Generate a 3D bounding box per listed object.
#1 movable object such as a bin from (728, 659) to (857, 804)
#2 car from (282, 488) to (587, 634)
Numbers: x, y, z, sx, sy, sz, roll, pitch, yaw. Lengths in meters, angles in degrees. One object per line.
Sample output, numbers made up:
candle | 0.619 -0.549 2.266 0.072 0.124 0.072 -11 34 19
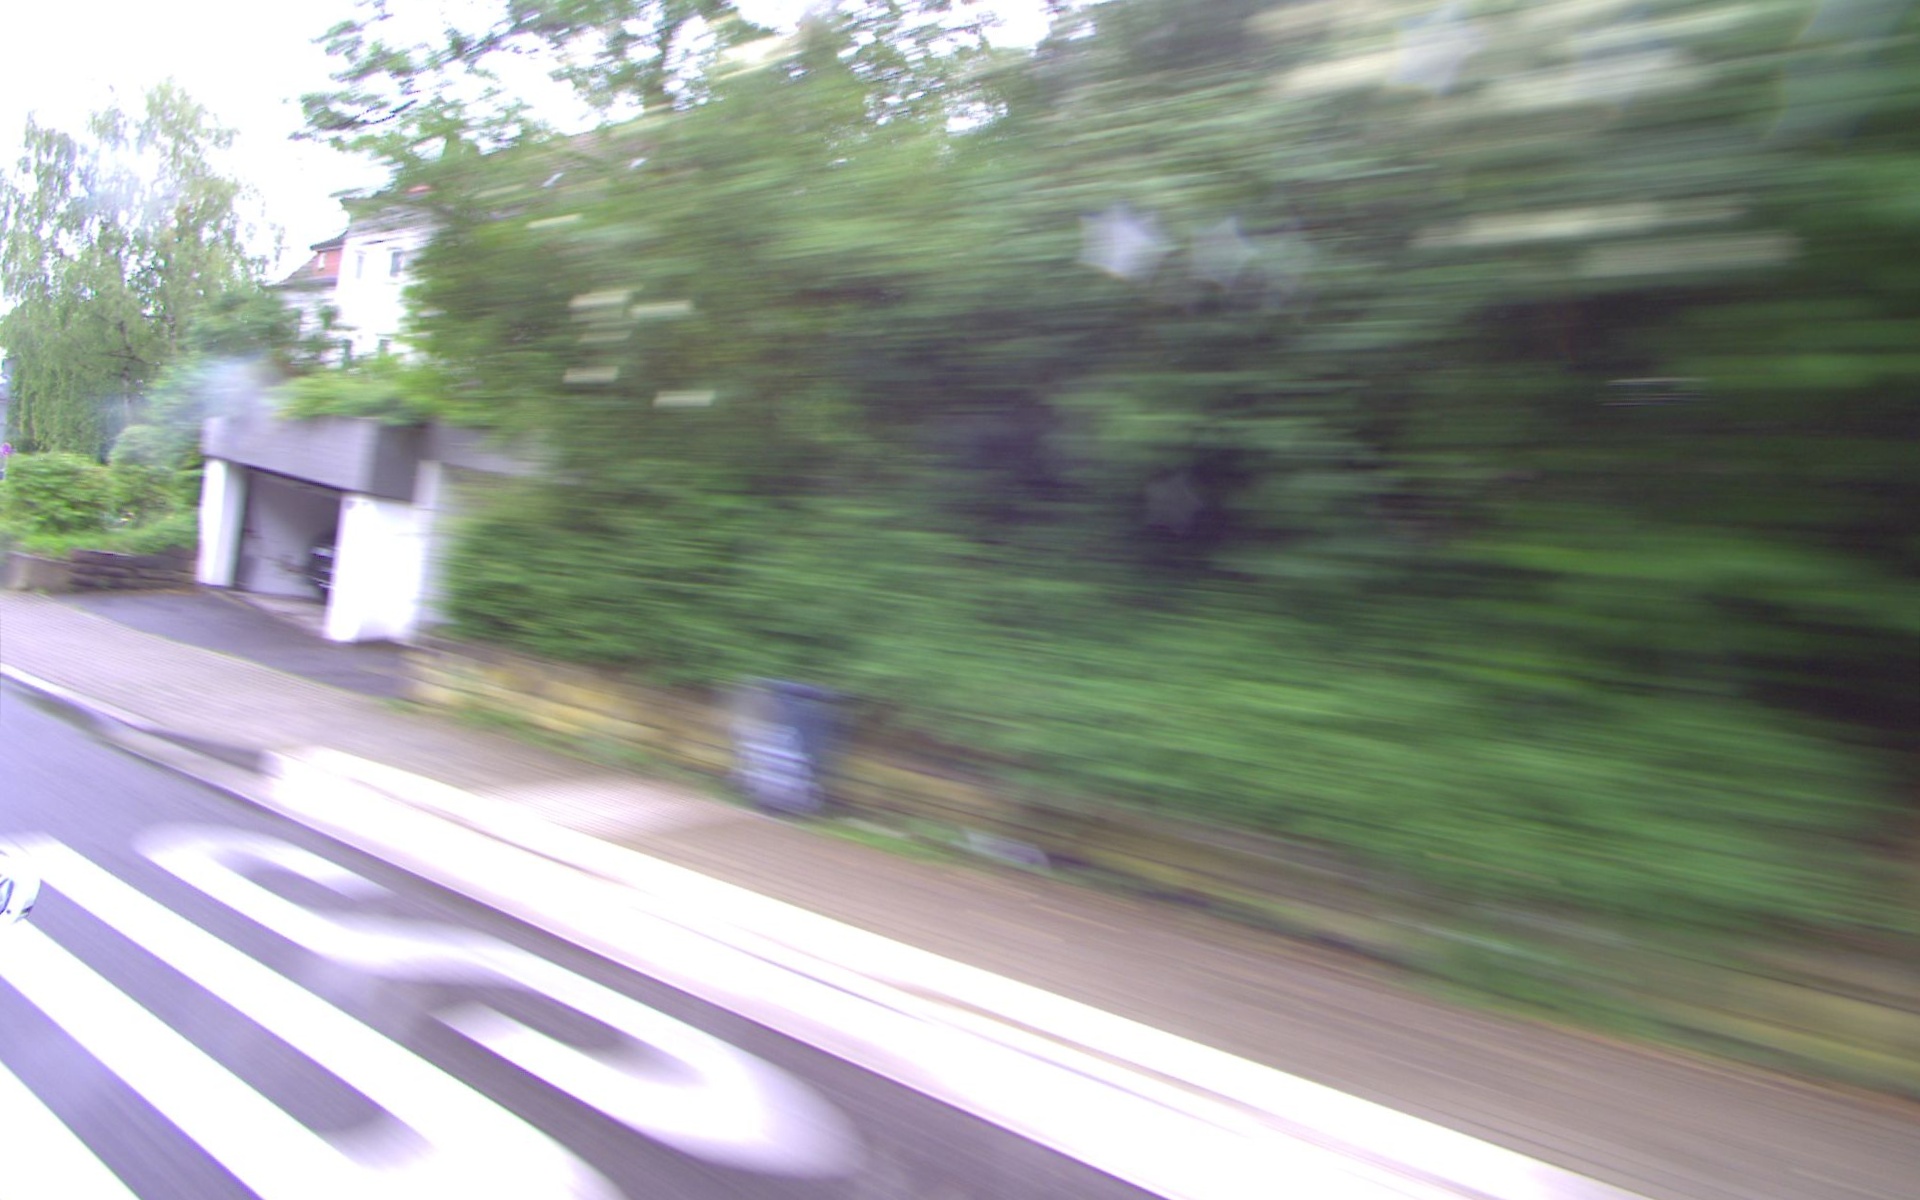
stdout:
movable object such as a bin | -1.040 0.808 6.277 0.494 0.797 0.507 7 -1 29
car | -8.634 -0.574 16.840 1.771 1.647 3.991 12 0 36
